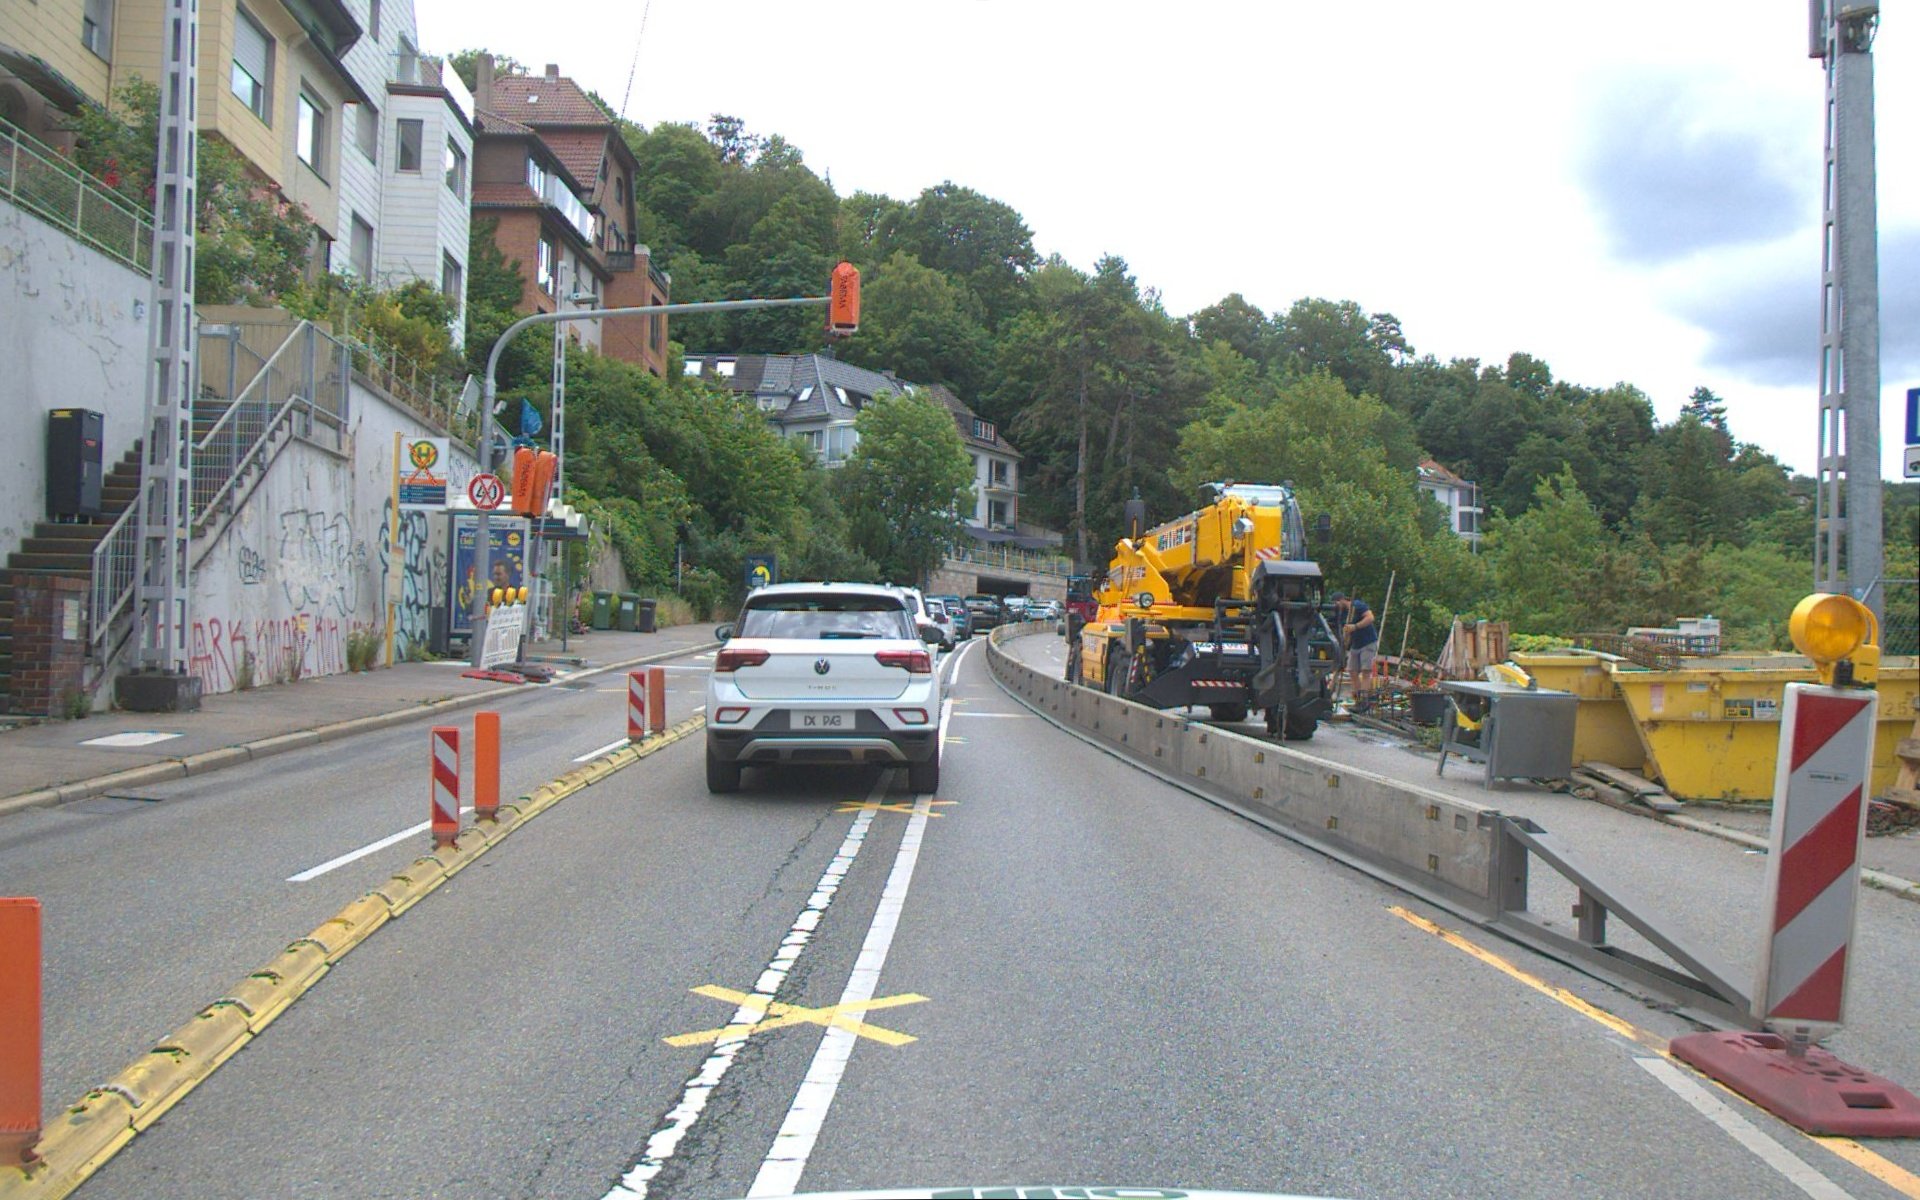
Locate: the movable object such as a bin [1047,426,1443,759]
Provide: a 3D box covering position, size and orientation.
[{"bbox_3d":[2.971,-0.078,19.866,2.756,3.124,7.816,2,0,-5],"label":"movable object such as a bin"}]

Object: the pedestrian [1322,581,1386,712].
[{"bbox_3d":[5.583,0.654,23.466,0.677,1.826,0.538,1,0,-13],"label":"pedestrian"}]

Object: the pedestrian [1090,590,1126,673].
[{"bbox_3d":[3.158,0.666,35.386,0.632,1.731,0.850,2,0,-1],"label":"pedestrian"}]

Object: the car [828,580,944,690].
[{"bbox_3d":[-1.189,0.542,27.445,1.773,1.692,3.999,0,0,-2],"label":"car"}]

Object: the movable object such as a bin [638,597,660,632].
[{"bbox_3d":[-8.714,0.404,46.400,0.458,0.950,0.624,3,0,-1],"label":"movable object such as a bin"}]

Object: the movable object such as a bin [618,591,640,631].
[{"bbox_3d":[-9.289,0.308,46.418,0.458,1.072,0.624,3,0,-1],"label":"movable object such as a bin"}]

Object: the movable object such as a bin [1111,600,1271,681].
[{"bbox_3d":[5.081,0.834,37.516,2.326,1.589,7.096,2,0,-2],"label":"movable object such as a bin"}]

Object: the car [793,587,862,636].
[{"bbox_3d":[-4.632,0.390,58.277,1.803,1.627,4.265,1,0,4],"label":"car"}]

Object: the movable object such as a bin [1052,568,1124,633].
[{"bbox_3d":[5.732,0.018,73.555,2.165,2.709,4.948,2,0,16],"label":"movable object such as a bin"}]

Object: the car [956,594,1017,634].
[{"bbox_3d":[1.190,0.597,71.452,1.771,1.692,4.003,0,0,14],"label":"car"}]

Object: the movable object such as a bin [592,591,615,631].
[{"bbox_3d":[-9.999,0.308,46.393,0.458,1.072,0.624,3,0,-1],"label":"movable object such as a bin"}]

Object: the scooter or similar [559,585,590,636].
[{"bbox_3d":[-9.599,0.250,41.176,0.450,1.226,1.434,3,0,-3],"label":"scooter or similar"}]

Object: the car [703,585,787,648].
[{"bbox_3d":[-5.470,0.406,42.493,1.637,1.455,3.587,3,0,0],"label":"car"}]

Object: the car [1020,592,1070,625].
[{"bbox_3d":[4.424,0.433,85.981,1.771,1.692,4.003,0,0,15],"label":"car"}]

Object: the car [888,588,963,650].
[{"bbox_3d":[-0.941,0.522,46.868,1.772,1.692,4.002,0,0,4],"label":"car"}]

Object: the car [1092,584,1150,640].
[{"bbox_3d":[5.477,0.375,56.754,1.794,1.811,4.270,1,0,4],"label":"car"}]

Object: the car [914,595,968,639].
[{"bbox_3d":[-0.651,0.591,59.629,1.757,1.537,4.001,0,0,2],"label":"car"}]

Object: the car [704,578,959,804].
[{"bbox_3d":[-1.077,0.627,13.520,1.774,1.558,3.995,0,0,-5],"label":"car"}]
